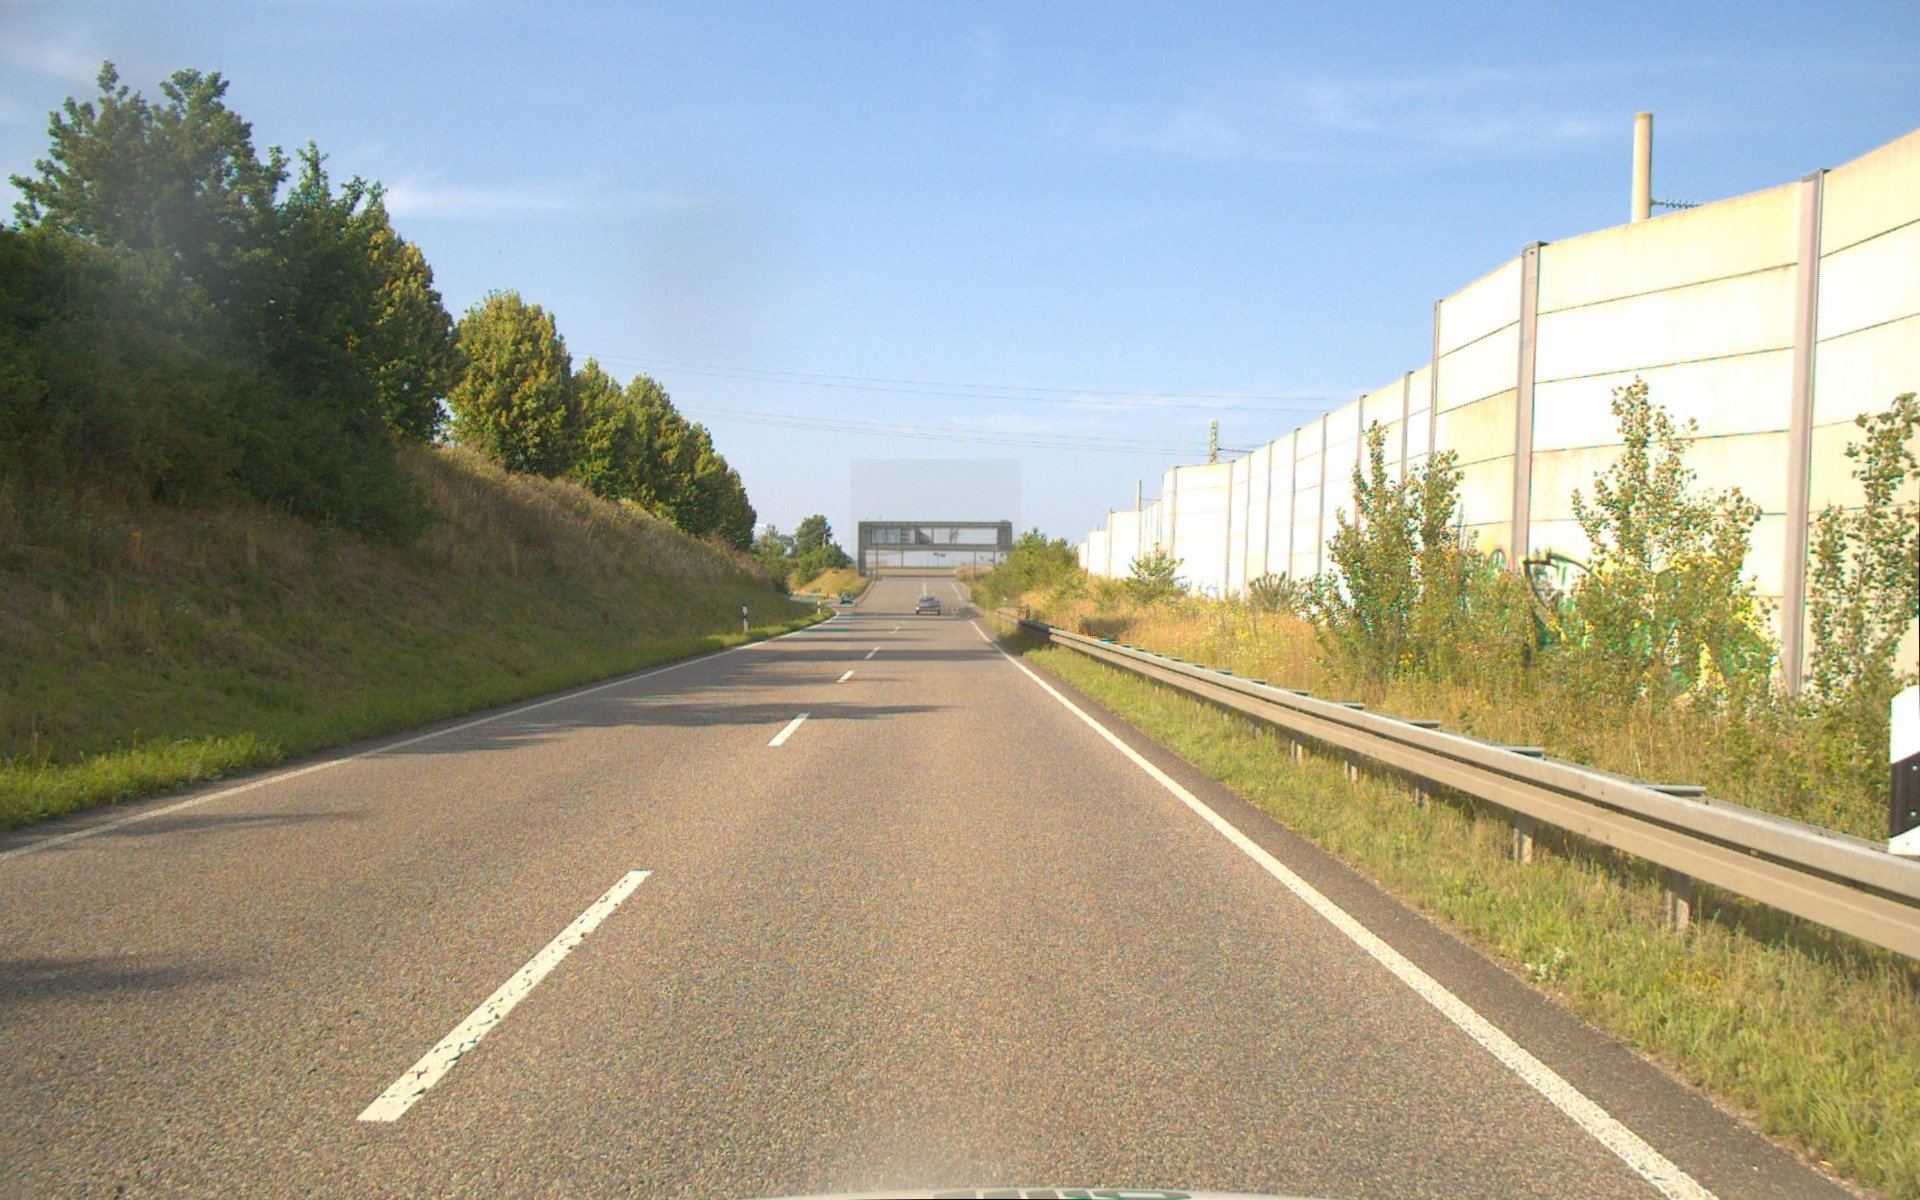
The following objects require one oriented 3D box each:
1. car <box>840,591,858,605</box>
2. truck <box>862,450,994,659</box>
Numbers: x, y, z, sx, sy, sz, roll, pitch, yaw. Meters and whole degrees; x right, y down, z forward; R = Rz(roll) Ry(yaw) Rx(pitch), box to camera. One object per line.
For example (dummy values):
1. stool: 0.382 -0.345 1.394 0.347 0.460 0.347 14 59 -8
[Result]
1. car: -13.870 -0.244 206.249 2.005 1.609 4.359 1 0 -1
2. truck: -1.071 -1.217 47.316 3.225 5.179 12.032 1 1 -3
